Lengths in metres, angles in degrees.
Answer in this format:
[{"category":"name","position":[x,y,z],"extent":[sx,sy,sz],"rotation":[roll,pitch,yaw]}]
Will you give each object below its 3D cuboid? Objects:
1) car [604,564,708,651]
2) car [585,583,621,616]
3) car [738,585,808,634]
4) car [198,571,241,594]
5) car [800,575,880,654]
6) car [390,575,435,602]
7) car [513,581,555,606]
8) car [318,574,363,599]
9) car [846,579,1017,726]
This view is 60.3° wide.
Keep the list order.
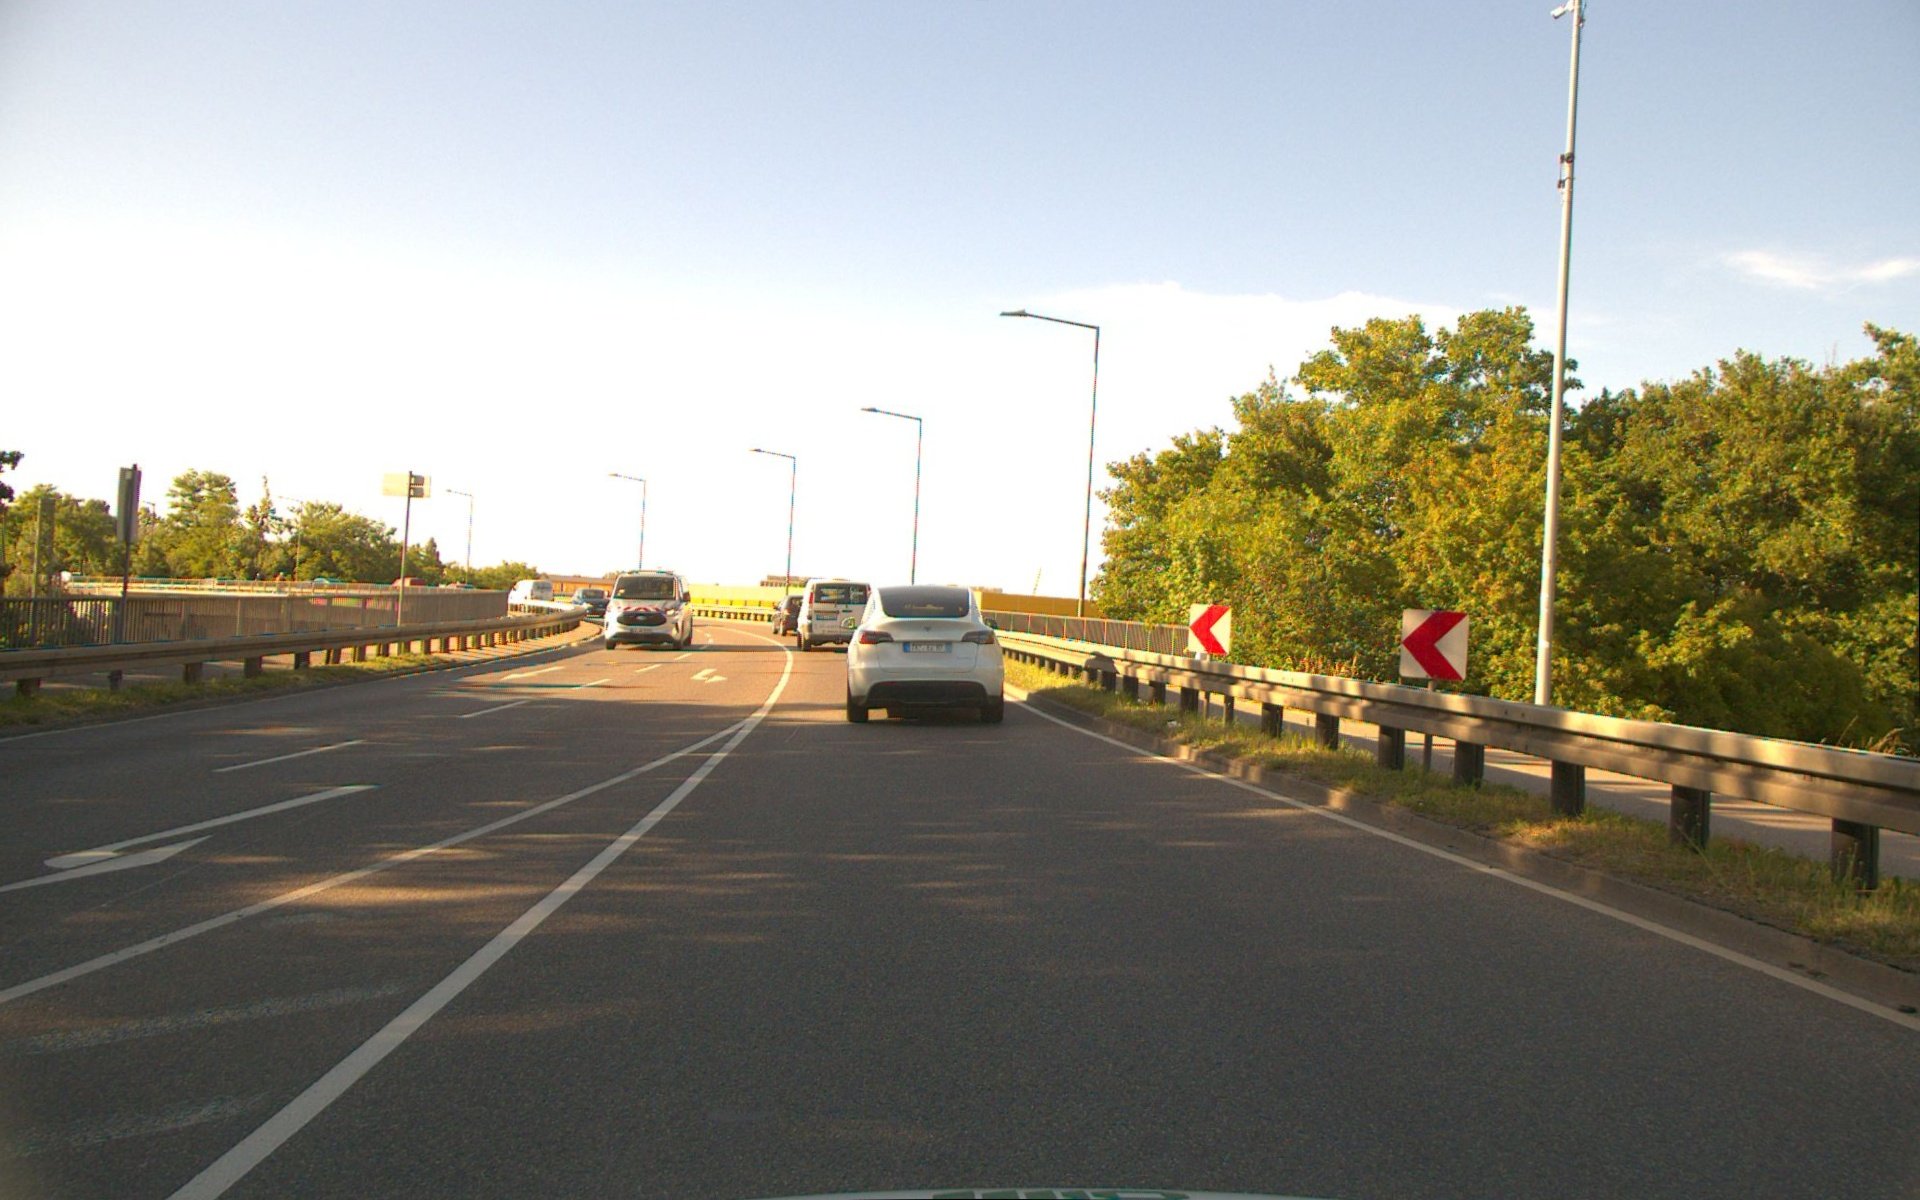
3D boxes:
[{"category":"car","position":[-8.034,0.158,44.133],"extent":[1.909,2.149,5.269],"rotation":[1,0,-2]},{"category":"car","position":[-18.423,-0.035,85.262],"extent":[1.773,1.666,3.987],"rotation":[1,0,-13]},{"category":"car","position":[-6.660,0.305,58.540],"extent":[1.936,1.666,3.984],"rotation":[0,0,-15]},{"category":"car","position":[-66.322,-1.536,148.114],"extent":[3.923,1.984,1.954],"rotation":[1,0,38]},{"category":"car","position":[-3.277,0.357,44.415],"extent":[1.967,1.974,4.461],"rotation":[1,0,-6]},{"category":"car","position":[-42.630,-0.903,128.732],"extent":[1.946,1.984,3.939],"rotation":[1,0,-42]},{"category":"car","position":[-28.201,-0.451,109.429],"extent":[1.815,1.583,3.856],"rotation":[1,0,-29]},{"category":"car","position":[-51.447,-1.136,137.272],"extent":[3.931,1.984,1.950],"rotation":[1,0,43]},{"category":"car","position":[-0.418,0.592,20.858],"extent":[1.946,1.666,4.060],"rotation":[0,0,-3]}]
